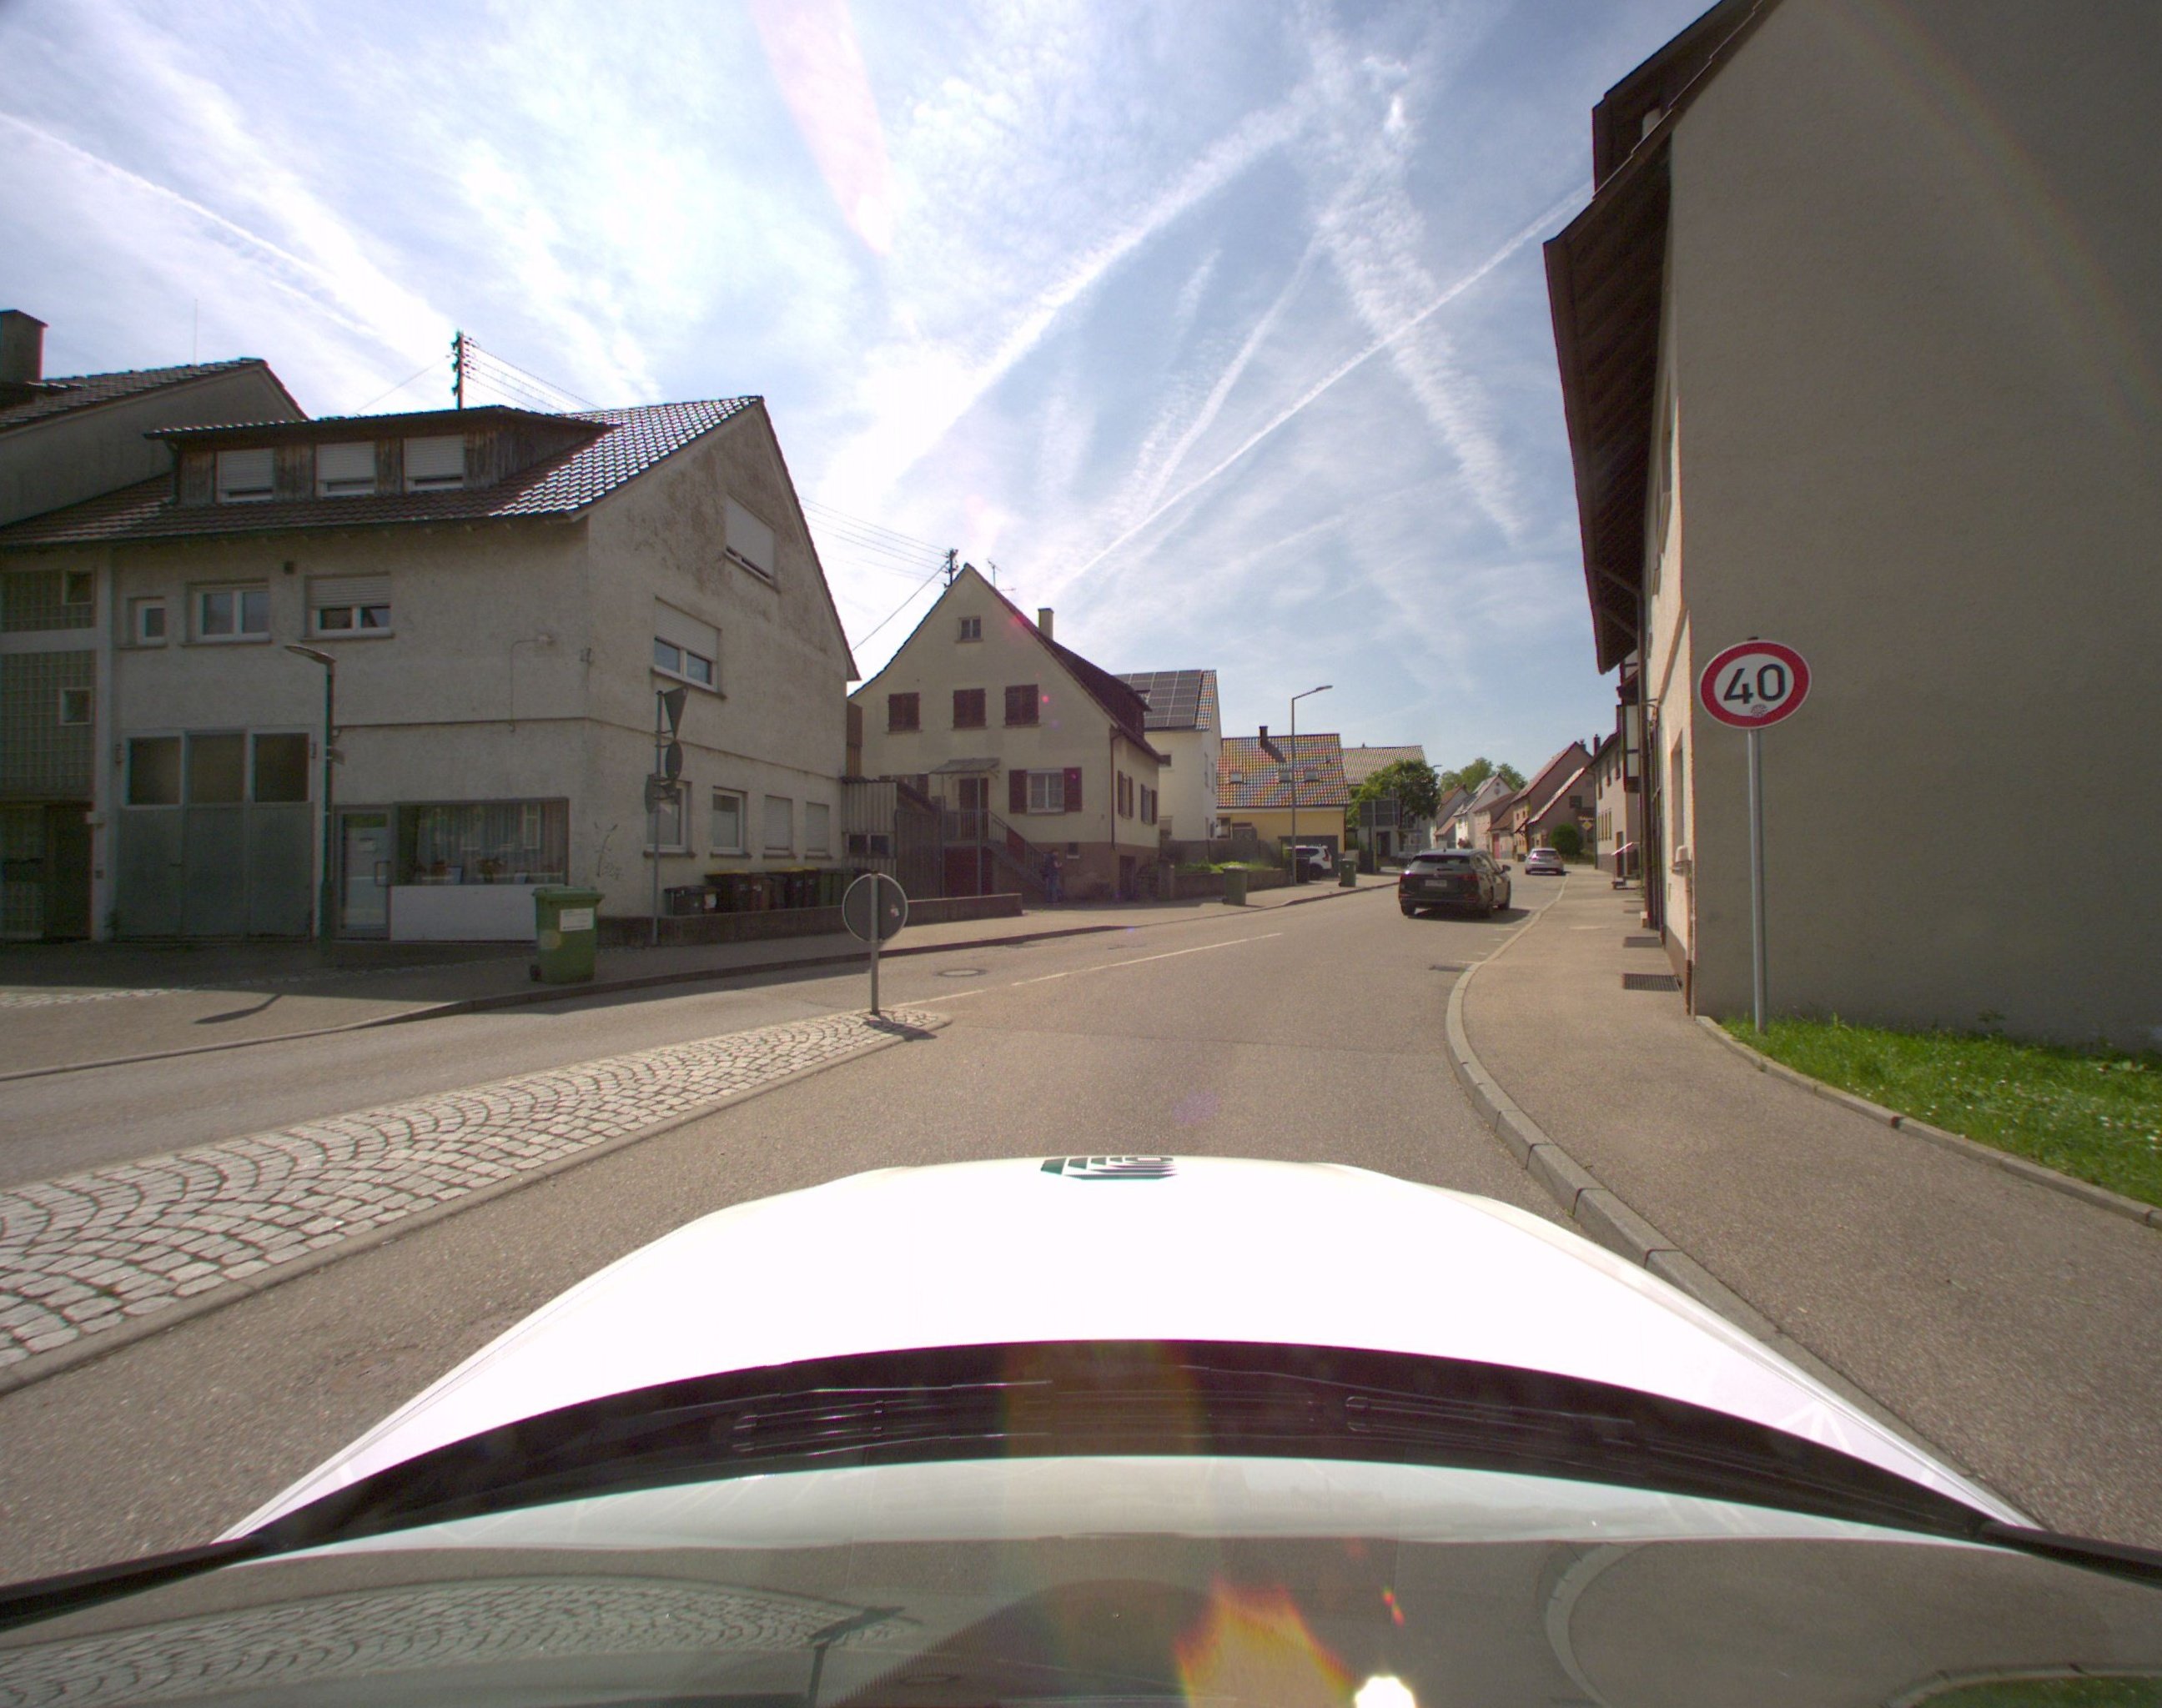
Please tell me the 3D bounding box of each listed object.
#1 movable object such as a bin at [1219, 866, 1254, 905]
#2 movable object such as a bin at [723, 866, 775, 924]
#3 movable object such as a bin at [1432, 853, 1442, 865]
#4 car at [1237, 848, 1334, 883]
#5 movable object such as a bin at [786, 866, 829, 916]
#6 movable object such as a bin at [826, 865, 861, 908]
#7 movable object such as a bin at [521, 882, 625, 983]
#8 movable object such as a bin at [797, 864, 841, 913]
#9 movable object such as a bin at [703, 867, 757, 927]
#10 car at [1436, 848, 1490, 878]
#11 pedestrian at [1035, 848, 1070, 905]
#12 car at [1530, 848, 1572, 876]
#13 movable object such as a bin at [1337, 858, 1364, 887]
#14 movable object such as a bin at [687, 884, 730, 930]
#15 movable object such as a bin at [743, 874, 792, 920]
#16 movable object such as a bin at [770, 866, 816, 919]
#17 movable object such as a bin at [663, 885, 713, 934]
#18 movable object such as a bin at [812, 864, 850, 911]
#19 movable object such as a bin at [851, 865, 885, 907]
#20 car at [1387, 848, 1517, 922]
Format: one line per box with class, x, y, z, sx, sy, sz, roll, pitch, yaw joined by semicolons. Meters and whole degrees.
movable object such as a bin;4.299;0.862;22.543;0.784;1.057;0.655;-1;0;29
movable object such as a bin;-6.455;0.784;15.852;0.679;1.086;0.699;0;0;6
movable object such as a bin;31.719;0.421;72.574;0.747;1.060;0.683;0;0;19
car;9.877;0.547;39.234;4.365;1.622;2.010;0;-1;19
movable object such as a bin;-6.035;0.806;17.978;0.679;1.082;0.626;0;0;6
movable object such as a bin;-5.801;0.787;19.920;0.624;1.035;0.605;0;0;6
movable object such as a bin;-5.848;0.867;9.384;0.801;1.045;0.832;0;0;42
movable object such as a bin;-5.995;0.781;18.644;0.735;1.082;0.661;0;0;6
movable object such as a bin;-6.530;0.788;15.169;0.679;1.086;0.646;0;0;6
car;20.449;0.475;43.487;1.936;1.486;4.487;-3;-1;33
pedestrian;-0.800;0.615;23.010;0.770;1.574;0.631;0;0;23
car;25.836;0.417;44.912;1.769;1.442;4.363;0;0;27
movable object such as a bin;10.467;0.716;31.630;0.818;1.077;0.823;0;0;33
movable object such as a bin;-6.665;0.944;14.582;0.482;0.780;0.528;0;0;6
movable object such as a bin;-6.384;0.861;16.595;0.679;0.896;0.699;0;0;6
movable object such as a bin;-6.101;0.813;17.300;0.679;1.082;0.699;0;0;6
movable object such as a bin;-6.746;0.942;13.990;0.482;0.805;0.648;0;0;8
movable object such as a bin;-5.920;0.778;19.315;0.675;1.082;0.585;0;0;6
movable object such as a bin;-5.352;0.788;20.480;0.625;1.034;0.614;0;0;6
car;8.358;0.584;18.106;1.823;1.420;4.712;0;0;35
